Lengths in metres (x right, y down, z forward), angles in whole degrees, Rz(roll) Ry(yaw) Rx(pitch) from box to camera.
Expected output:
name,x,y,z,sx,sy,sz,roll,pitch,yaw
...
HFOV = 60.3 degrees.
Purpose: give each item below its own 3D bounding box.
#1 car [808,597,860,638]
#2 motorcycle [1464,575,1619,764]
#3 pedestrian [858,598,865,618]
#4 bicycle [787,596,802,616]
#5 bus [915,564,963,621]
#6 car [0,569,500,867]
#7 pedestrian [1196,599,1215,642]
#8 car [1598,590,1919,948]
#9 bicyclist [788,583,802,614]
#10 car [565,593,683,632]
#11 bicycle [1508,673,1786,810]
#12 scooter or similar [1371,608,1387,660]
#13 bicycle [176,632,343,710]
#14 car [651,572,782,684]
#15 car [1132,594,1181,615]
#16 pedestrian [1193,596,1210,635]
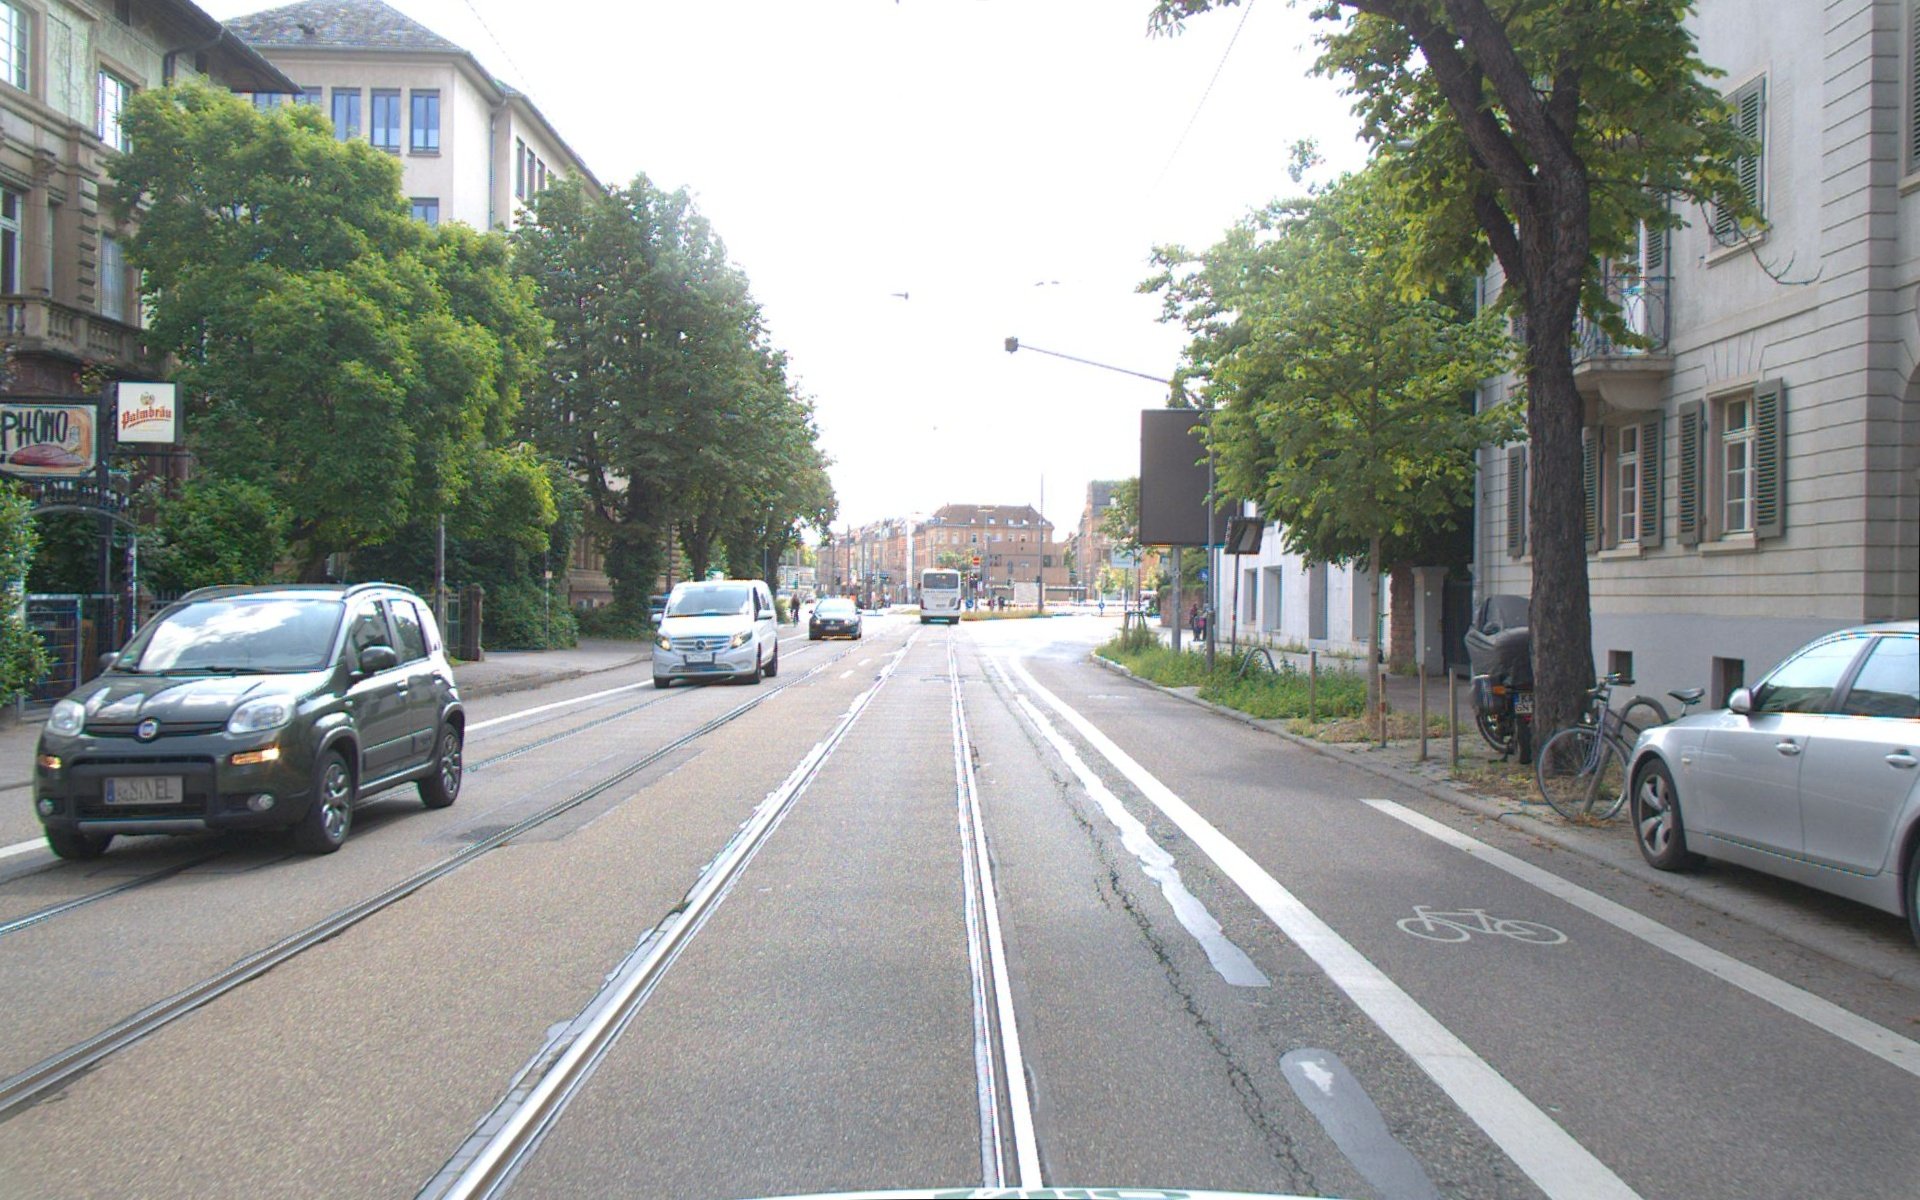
name,x,y,z,sx,sy,sz,roll,pitch,yaw
car,-4.548,0.610,60.223,1.654,1.426,3.930,0,0,-1
motorcycle,5.246,0.575,15.081,0.959,1.569,2.442,0,0,11
pedestrian,-9.308,0.736,156.576,0.598,1.918,0.794,0,0,0
bicycle,-8.527,0.302,85.397,0.685,1.035,1.818,-1,0,-4
bus,-1.383,-0.450,106.962,2.859,3.386,12.202,2,0,-1
car,-4.328,0.644,10.757,1.598,1.584,3.821,0,0,0
pedestrian,10.128,0.851,68.274,0.671,1.754,0.747,-1,1,-1
car,4.909,0.720,8.094,1.672,1.524,4.788,0,0,-1
bicyclist,-8.530,-0.086,85.399,0.677,1.546,0.867,-1,0,-4
car,-13.030,0.478,64.118,4.179,1.472,1.777,0,0,-28
bicycle,4.975,1.015,12.051,1.739,0.918,0.692,0,0,2
scooter or similar,9.827,0.783,38.782,0.315,1.202,1.149,0,0,12
bicycle,-10.042,0.990,23.896,1.119,0.924,2.988,4,0,-1
car,-4.516,0.481,31.392,1.859,1.940,5.382,0,0,-2
car,17.220,0.437,145.133,4.067,1.713,2.105,1,1,-42
pedestrian,10.172,0.649,69.696,0.510,1.608,0.547,-1,1,-10
